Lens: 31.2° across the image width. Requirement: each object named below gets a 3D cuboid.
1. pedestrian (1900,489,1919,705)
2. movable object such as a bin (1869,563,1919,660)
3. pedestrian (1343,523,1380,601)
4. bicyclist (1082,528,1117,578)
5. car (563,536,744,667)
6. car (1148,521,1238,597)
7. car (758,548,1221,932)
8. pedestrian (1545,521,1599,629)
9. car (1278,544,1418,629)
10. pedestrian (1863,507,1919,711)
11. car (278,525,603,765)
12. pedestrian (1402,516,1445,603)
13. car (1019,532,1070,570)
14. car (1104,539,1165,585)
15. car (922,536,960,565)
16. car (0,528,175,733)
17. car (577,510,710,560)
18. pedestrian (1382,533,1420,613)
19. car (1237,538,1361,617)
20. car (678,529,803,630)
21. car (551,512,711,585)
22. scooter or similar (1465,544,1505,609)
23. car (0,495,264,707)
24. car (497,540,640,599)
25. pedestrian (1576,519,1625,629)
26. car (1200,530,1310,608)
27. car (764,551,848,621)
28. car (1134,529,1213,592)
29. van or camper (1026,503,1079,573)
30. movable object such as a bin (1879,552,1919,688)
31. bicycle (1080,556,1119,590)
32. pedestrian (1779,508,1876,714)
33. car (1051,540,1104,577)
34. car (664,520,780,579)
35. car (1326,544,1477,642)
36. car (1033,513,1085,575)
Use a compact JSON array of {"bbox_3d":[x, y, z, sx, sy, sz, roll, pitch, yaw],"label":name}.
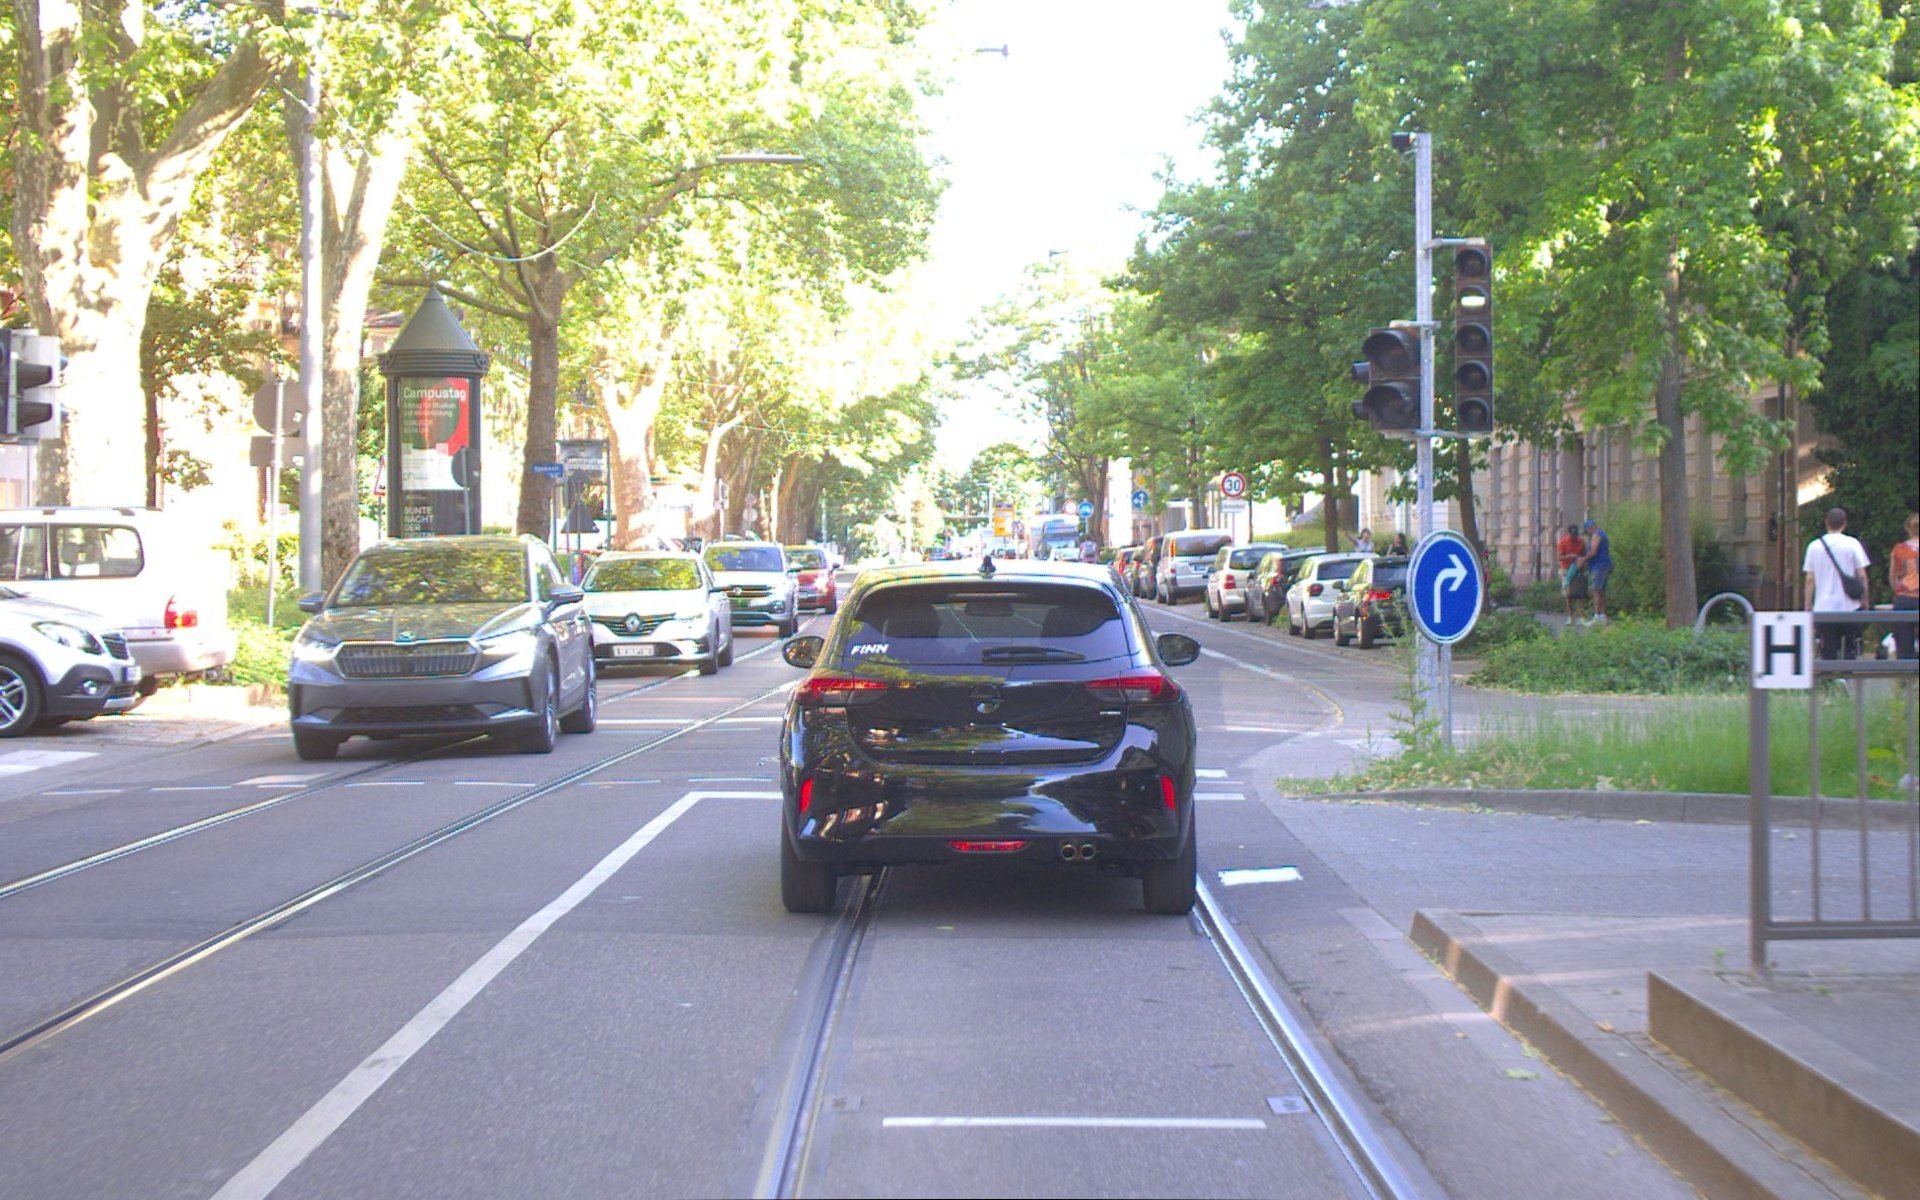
[{"bbox_3d":[8.823,-0.018,29.787,0.867,1.878,0.998,1,1,-18],"label":"pedestrian"},{"bbox_3d":[11.238,0.134,40.552,0.665,1.122,0.957,1,1,-8],"label":"movable object such as a bin"},{"bbox_3d":[8.746,-0.827,74.935,0.726,1.687,0.957,1,1,3],"label":"pedestrian"},{"bbox_3d":[4.162,-1.406,102.630,0.958,1.494,1.094,1,1,-2],"label":"bicyclist"},{"bbox_3d":[-3.614,-0.012,41.152,1.775,1.456,4.204,1,1,0],"label":"car"},{"bbox_3d":[6.074,-1.077,90.125,1.884,1.845,4.968,-2,1,-1],"label":"car"},{"bbox_3d":[0.091,0.512,15.200,1.763,1.455,3.950,1,1,-1],"label":"car"},{"bbox_3d":[10.180,-0.418,57.175,0.727,1.787,0.599,1,1,27],"label":"pedestrian"},{"bbox_3d":[6.766,-0.264,60.373,1.884,1.363,4.107,-2,1,-1],"label":"car"},{"bbox_3d":[8.497,0.066,30.670,0.726,1.787,0.967,-2,1,10],"label":"pedestrian"},{"bbox_3d":[-3.850,0.285,26.156,1.908,1.632,4.321,-1,1,-2],"label":"car"},{"bbox_3d":[9.550,-0.837,70.811,0.726,1.787,0.600,1,1,-5],"label":"pedestrian"},{"bbox_3d":[4.185,-2.432,171.114,2.254,1.834,5.531,-1,1,-1],"label":"car"},{"bbox_3d":[5.763,-1.259,113.833,1.702,1.418,3.979,-3,1,-1],"label":"car"},{"bbox_3d":[-1.267,-3.290,229.889,2.254,1.834,5.532,-1,1,-3],"label":"car"},{"bbox_3d":[-8.819,0.213,28.633,4.139,1.641,1.902,1,1,-2],"label":"car"},{"bbox_3d":[-10.490,-2.148,114.114,4.299,1.601,1.926,0,1,-3],"label":"car"},{"bbox_3d":[9.605,-0.591,74.954,0.726,1.703,0.856,1,1,2],"label":"pedestrian"},{"bbox_3d":[6.845,-0.469,69.824,1.884,1.462,4.594,-2,1,-2],"label":"car"},{"bbox_3d":[-3.609,-0.356,57.204,1.815,1.563,4.116,-1,1,-1],"label":"car"},{"bbox_3d":[-10.584,-1.670,110.855,5.032,2.251,2.086,1,1,-4],"label":"car"},{"bbox_3d":[10.188,-0.463,66.732,0.576,1.242,1.335,1,1,0],"label":"scooter or similar"},{"bbox_3d":[-8.761,-0.022,31.072,4.570,1.828,1.939,1,1,-2],"label":"car"},{"bbox_3d":[-10.055,-0.779,88.490,3.420,1.460,1.759,1,1,2],"label":"car"},{"bbox_3d":[10.508,-0.423,56.423,0.598,1.787,0.728,1,1,-3],"label":"pedestrian"},{"bbox_3d":[6.366,-0.674,74.592,1.884,1.562,4.242,-2,1,-1],"label":"car"},{"bbox_3d":[-3.331,-0.321,74.995,1.660,1.439,3.473,1,1,0],"label":"car"},{"bbox_3d":[6.141,-1.140,99.319,1.885,1.760,4.678,-1,1,-1],"label":"car"},{"bbox_3d":[4.392,-2.945,163.908,2.254,3.205,5.531,-1,1,-1],"label":"van or camper"},{"bbox_3d":[8.859,0.169,31.631,0.639,1.198,1.304,-2,1,10],"label":"movable object such as a bin"},{"bbox_3d":[4.157,-0.821,102.657,0.968,0.995,2.583,1,1,-2],"label":"bicycle"},{"bbox_3d":[7.708,0.086,30.556,0.726,1.787,0.853,-2,1,10],"label":"pedestrian"},{"bbox_3d":[4.751,-1.697,139.948,1.884,1.429,4.530,-2,1,-1],"label":"car"},{"bbox_3d":[-10.821,-2.292,156.637,5.036,2.366,2.081,-3,1,0],"label":"car"},{"bbox_3d":[6.896,-0.129,53.994,1.672,1.407,3.843,-3,1,-2],"label":"car"},{"bbox_3d":[4.521,-2.580,157.348,2.085,2.762,4.698,-1,1,-1],"label":"car"}]
